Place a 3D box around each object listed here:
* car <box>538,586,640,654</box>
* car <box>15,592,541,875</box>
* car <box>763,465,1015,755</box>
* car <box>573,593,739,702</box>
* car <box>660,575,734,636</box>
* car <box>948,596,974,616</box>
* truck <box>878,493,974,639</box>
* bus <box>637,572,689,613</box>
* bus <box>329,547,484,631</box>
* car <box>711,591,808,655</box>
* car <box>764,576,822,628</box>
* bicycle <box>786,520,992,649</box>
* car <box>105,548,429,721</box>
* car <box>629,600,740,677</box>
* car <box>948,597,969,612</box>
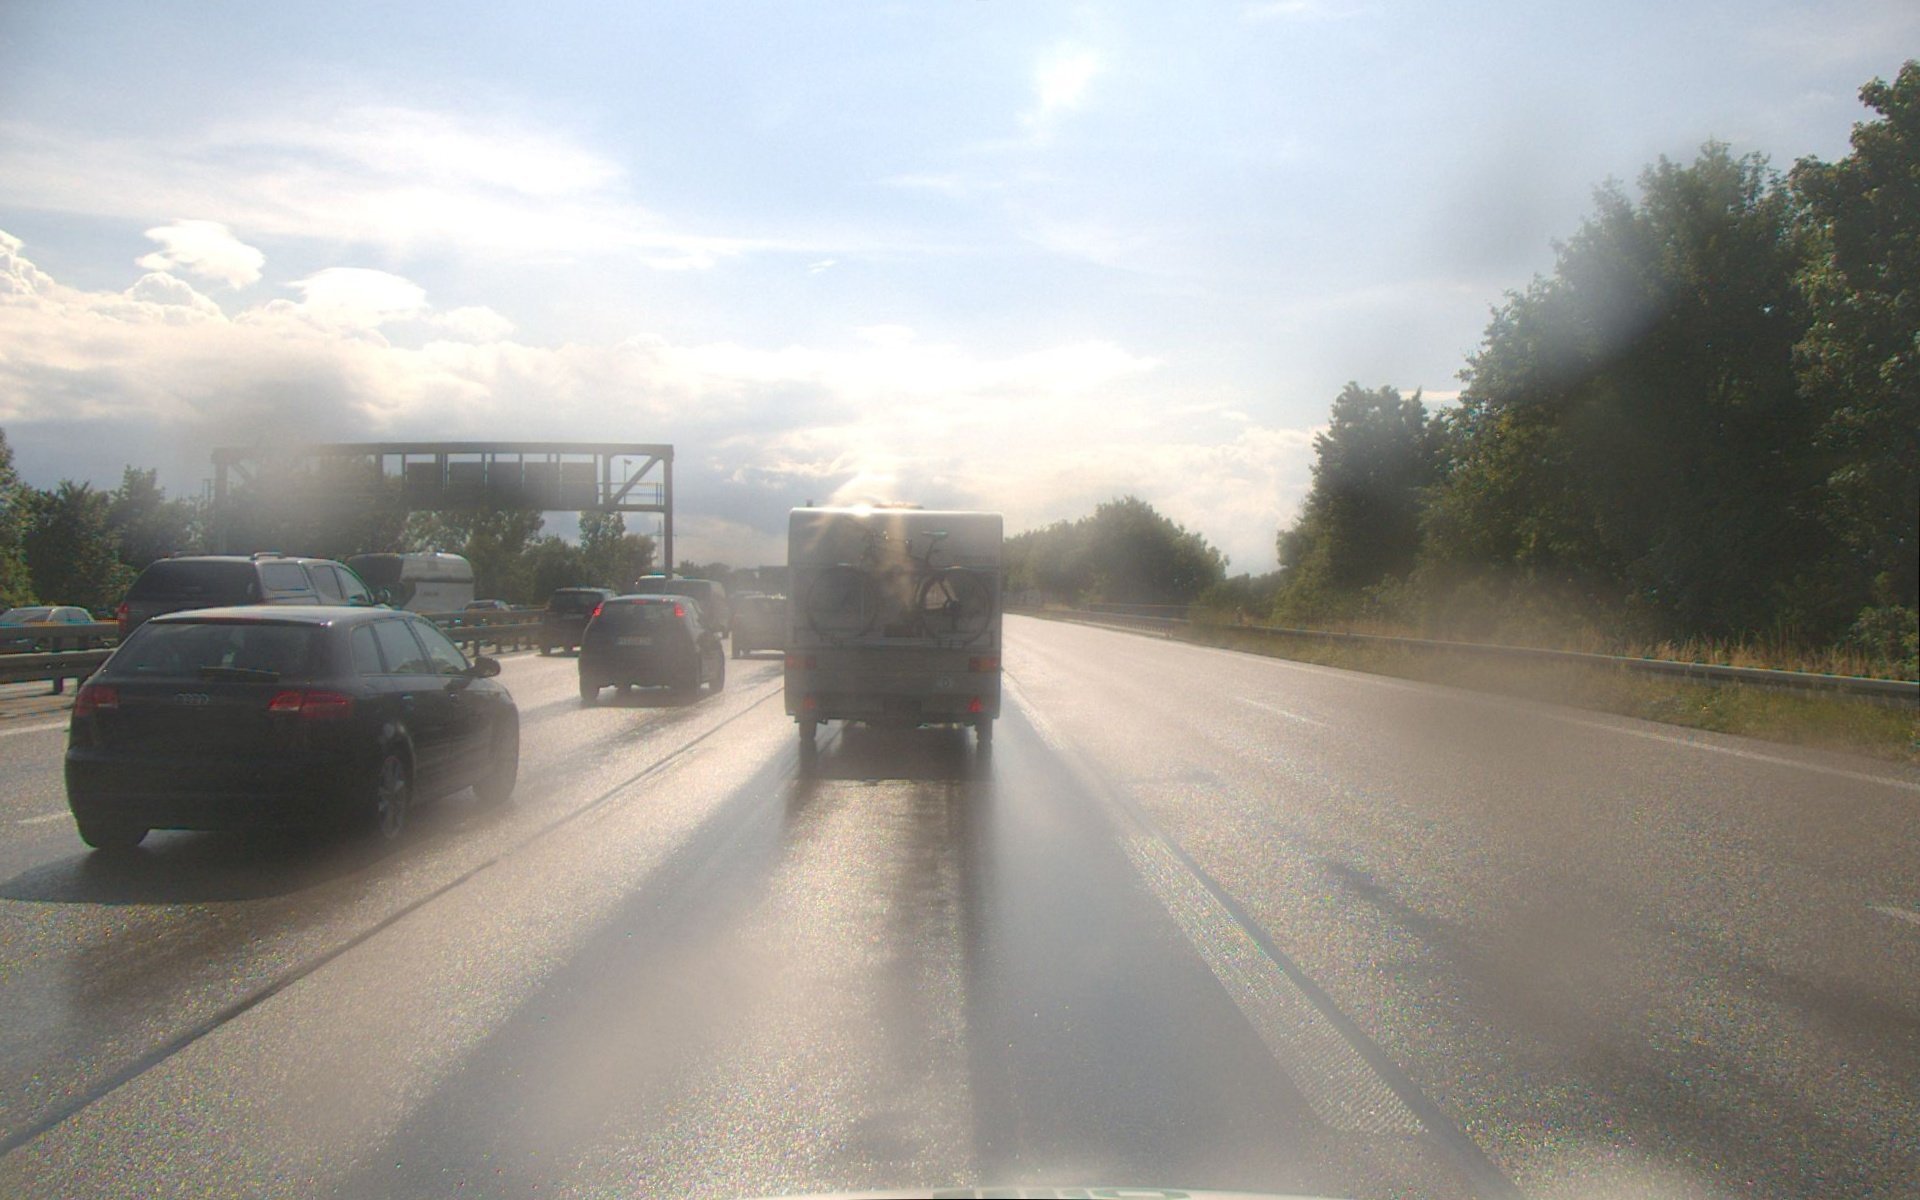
[{"bbox_3d":[-9.162,0.469,41.134,1.747,1.606,3.914,1,0,-2],"label":"car"},{"bbox_3d":[-4.054,0.686,10.614,1.714,1.458,4.053,1,0,-1],"label":"car"},{"bbox_3d":[-0.674,0.103,17.748,2.361,2.721,4.000,1,0,0],"label":"car"},{"bbox_3d":[-4.438,0.644,24.685,1.722,1.468,4.000,1,0,0],"label":"car"},{"bbox_3d":[-8.908,0.154,56.301,1.810,1.967,5.015,1,0,-1],"label":"car"},{"bbox_3d":[0.068,0.456,135.960,1.799,1.585,3.996,1,0,-4],"label":"car"},{"bbox_3d":[-1.250,-1.108,58.874,3.082,4.707,10.732,0,0,-2],"label":"truck"},{"bbox_3d":[-25.687,-0.650,143.375,2.881,3.343,12.204,0,0,-3],"label":"bus"},{"bbox_3d":[-24.465,-0.459,73.944,2.832,3.433,12.468,0,0,-1],"label":"bus"},{"bbox_3d":[-4.942,0.539,41.288,1.947,1.483,3.826,1,0,0],"label":"car"},{"bbox_3d":[-5.680,0.062,56.454,1.654,1.691,3.640,0,0,-1],"label":"car"},{"bbox_3d":[-0.658,-0.143,15.545,1.894,1.161,0.384,1,0,0],"label":"bicycle"},{"bbox_3d":[-8.437,0.365,20.773,1.769,1.876,5.418,1,0,0],"label":"car"},{"bbox_3d":[-5.846,0.774,35.496,1.825,1.534,3.999,0,0,-2],"label":"car"},{"bbox_3d":[-0.155,0.494,169.627,1.840,1.521,3.996,1,0,-5],"label":"car"}]
